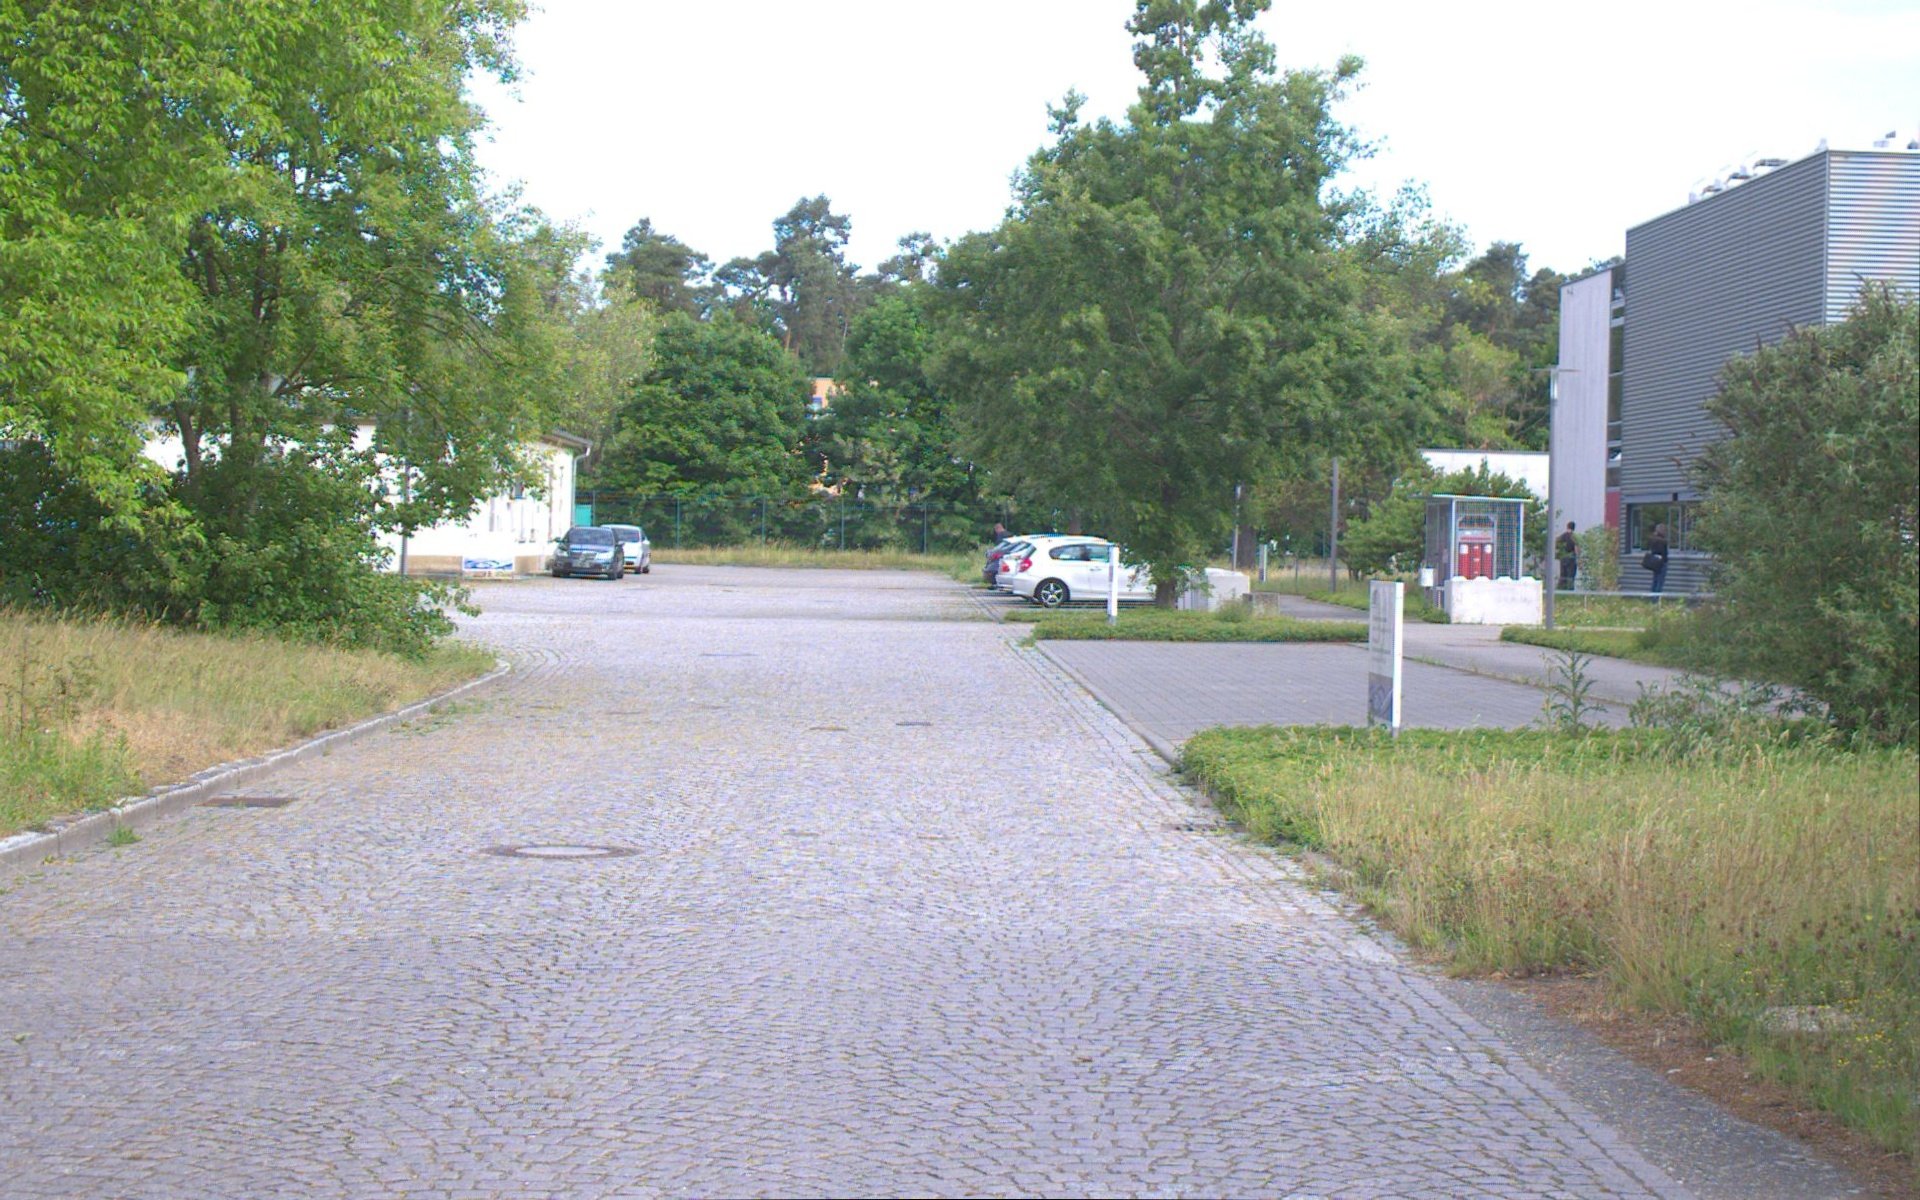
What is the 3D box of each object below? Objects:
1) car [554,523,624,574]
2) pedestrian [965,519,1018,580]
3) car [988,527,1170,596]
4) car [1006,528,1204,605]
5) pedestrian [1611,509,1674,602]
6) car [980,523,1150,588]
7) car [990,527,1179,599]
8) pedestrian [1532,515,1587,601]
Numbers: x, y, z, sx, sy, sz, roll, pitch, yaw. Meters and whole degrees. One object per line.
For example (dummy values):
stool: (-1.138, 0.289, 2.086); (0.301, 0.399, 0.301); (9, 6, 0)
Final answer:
car: (-10.339, -1.461, 95.902); (1.748, 1.359, 4.001); (1, 1, -4)
pedestrian: (0.814, -1.302, 88.629); (0.970, 1.563, 0.941); (2, 1, 31)
car: (2.649, -0.883, 77.357); (3.987, 1.450, 1.770); (1, 1, -1)
car: (3.017, -0.708, 72.155); (3.987, 1.450, 2.000); (2, 0, -1)
pedestrian: (14.437, -0.937, 72.689); (0.917, 1.930, 0.855); (1, 1, -40)
car: (2.593, -1.115, 85.474); (3.986, 1.528, 2.000); (1, 1, -5)
car: (2.667, -0.804, 74.317); (3.987, 1.450, 1.697); (1, 1, -1)
pedestrian: (14.112, -0.990, 80.946); (0.920, 2.007, 1.147); (1, 1, -7)
